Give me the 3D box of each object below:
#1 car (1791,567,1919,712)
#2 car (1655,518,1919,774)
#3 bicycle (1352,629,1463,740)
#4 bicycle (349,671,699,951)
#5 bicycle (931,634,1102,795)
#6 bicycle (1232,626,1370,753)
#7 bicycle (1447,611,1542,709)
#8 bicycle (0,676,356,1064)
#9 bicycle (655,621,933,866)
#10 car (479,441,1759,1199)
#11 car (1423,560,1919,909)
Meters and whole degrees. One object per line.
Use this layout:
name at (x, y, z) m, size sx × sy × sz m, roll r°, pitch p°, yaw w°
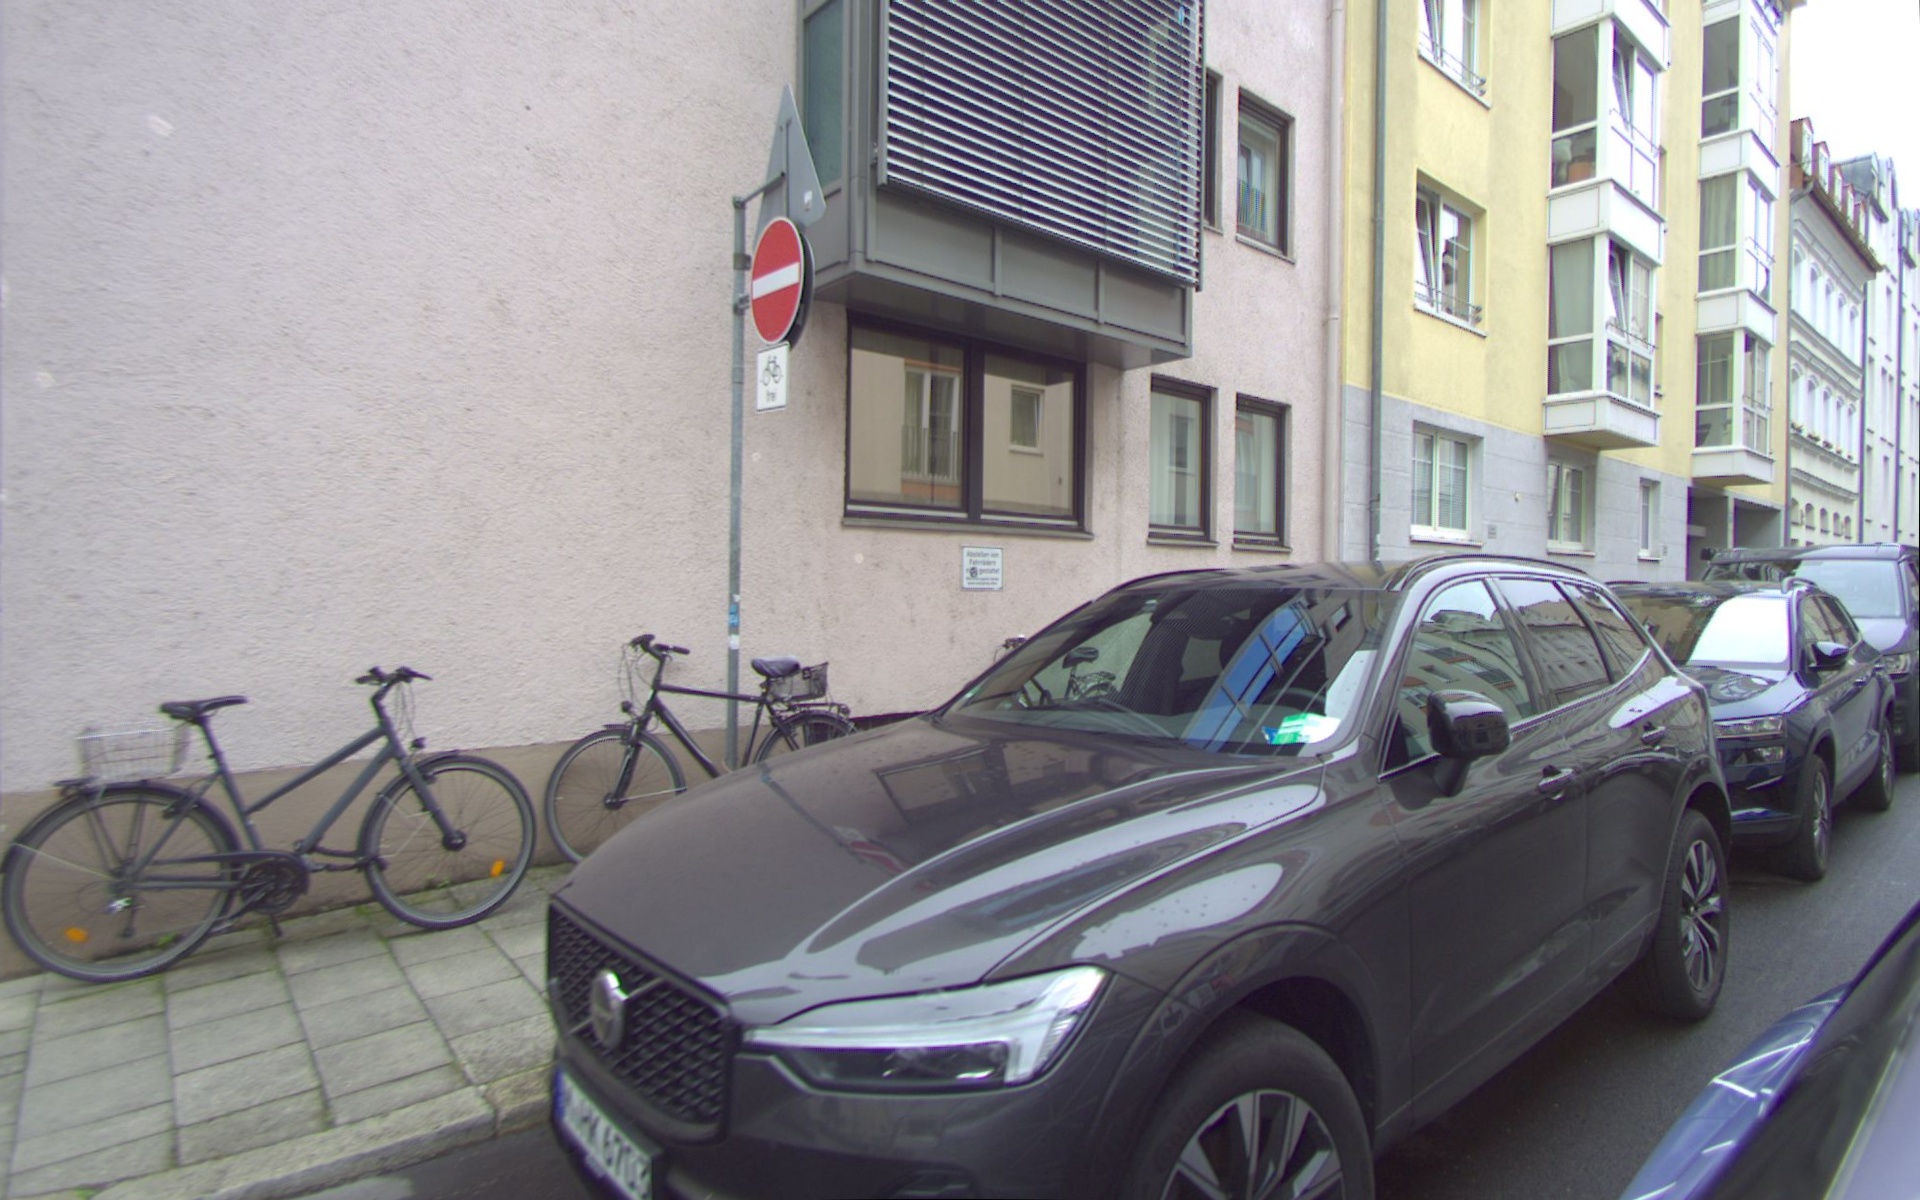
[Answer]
car at (12.722, 0.438, 13.500) m, size 4.155 × 1.707 × 1.836 m, roll -1°, pitch 0°, yaw -41°
car at (8.967, 0.304, 10.369) m, size 5.019 × 2.039 × 1.876 m, roll -2°, pitch 1°, yaw -41°
bicycle at (4.468, 0.809, 10.062) m, size 1.420 × 0.988 × 0.422 m, roll 0°, pitch 1°, yaw -40°
bicycle at (-1.901, 0.851, 4.500) m, size 1.333 × 0.959 × 0.552 m, roll 0°, pitch 1°, yaw -40°
bicycle at (0.404, 0.731, 6.852) m, size 1.247 × 0.959 × 0.358 m, roll 0°, pitch 1°, yaw -40°
bicycle at (2.992, 0.734, 8.798) m, size 1.549 × 0.959 × 0.441 m, roll 0°, pitch 1°, yaw -43°
bicycle at (5.894, 0.631, 11.133) m, size 1.420 × 0.988 × 0.422 m, roll 0°, pitch 1°, yaw -40°
bicycle at (-2.986, 0.900, 3.636) m, size 1.333 × 1.140 × 0.552 m, roll 0°, pitch 1°, yaw -40°
bicycle at (-0.856, 0.704, 5.494) m, size 1.515 × 1.136 × 0.358 m, roll 0°, pitch 1°, yaw -40°
car at (0.984, 0.590, 3.354) m, size 4.334 × 1.642 × 1.836 m, roll -1°, pitch 1°, yaw -41°
car at (5.013, 0.601, 6.870) m, size 4.249 × 1.642 × 1.835 m, roll -1°, pitch 0°, yaw -41°
